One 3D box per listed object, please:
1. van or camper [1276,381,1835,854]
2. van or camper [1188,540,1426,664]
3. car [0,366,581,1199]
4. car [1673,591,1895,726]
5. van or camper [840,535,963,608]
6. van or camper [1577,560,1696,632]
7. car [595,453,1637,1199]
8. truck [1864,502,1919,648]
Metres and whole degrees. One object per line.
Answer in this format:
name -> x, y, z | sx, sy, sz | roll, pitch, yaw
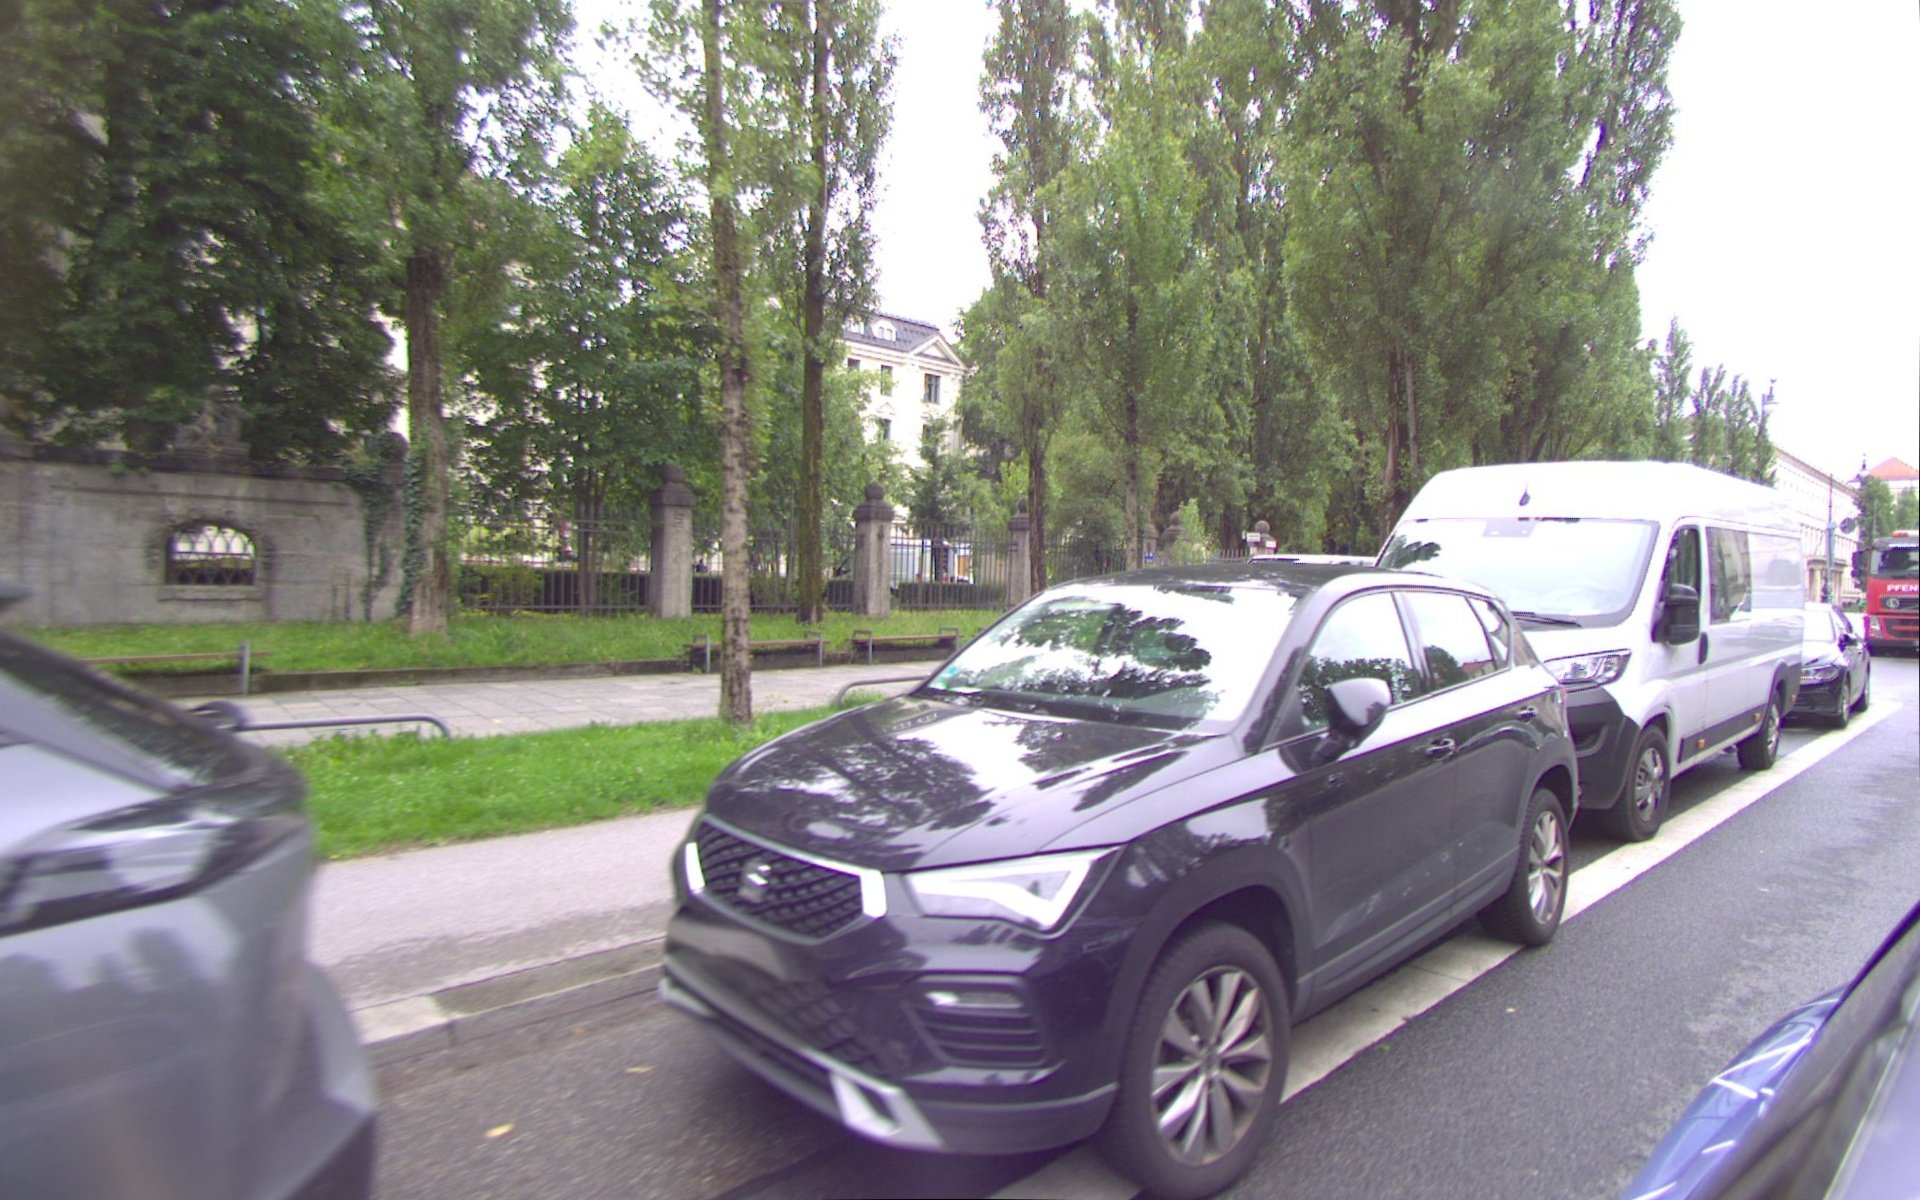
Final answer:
van or camper -> 5.299, 0.059, 8.404 | 6.306, 2.572, 2.142 | 0, 1, -42
van or camper -> 6.444, 0.024, 18.460 | 4.952, 1.958, 1.978 | 0, 0, -42
car -> -2.849, 0.541, 0.632 | 4.557, 1.638, 1.787 | 0, 1, -42
car -> 10.630, 0.625, 12.958 | 3.933, 1.438, 1.678 | 0, 2, -43
van or camper -> -2.421, -1.158, 40.617 | 2.210, 2.740, 5.219 | 0, 2, -41
van or camper -> 20.844, -0.129, 31.085 | 4.902, 2.039, 2.005 | 0, 0, -43
car -> 1.052, 0.545, 3.999 | 4.344, 1.669, 1.786 | 0, 1, -44
truck -> 27.690, -0.607, 28.134 | 10.104, 3.609, 2.849 | 0, 1, -43
